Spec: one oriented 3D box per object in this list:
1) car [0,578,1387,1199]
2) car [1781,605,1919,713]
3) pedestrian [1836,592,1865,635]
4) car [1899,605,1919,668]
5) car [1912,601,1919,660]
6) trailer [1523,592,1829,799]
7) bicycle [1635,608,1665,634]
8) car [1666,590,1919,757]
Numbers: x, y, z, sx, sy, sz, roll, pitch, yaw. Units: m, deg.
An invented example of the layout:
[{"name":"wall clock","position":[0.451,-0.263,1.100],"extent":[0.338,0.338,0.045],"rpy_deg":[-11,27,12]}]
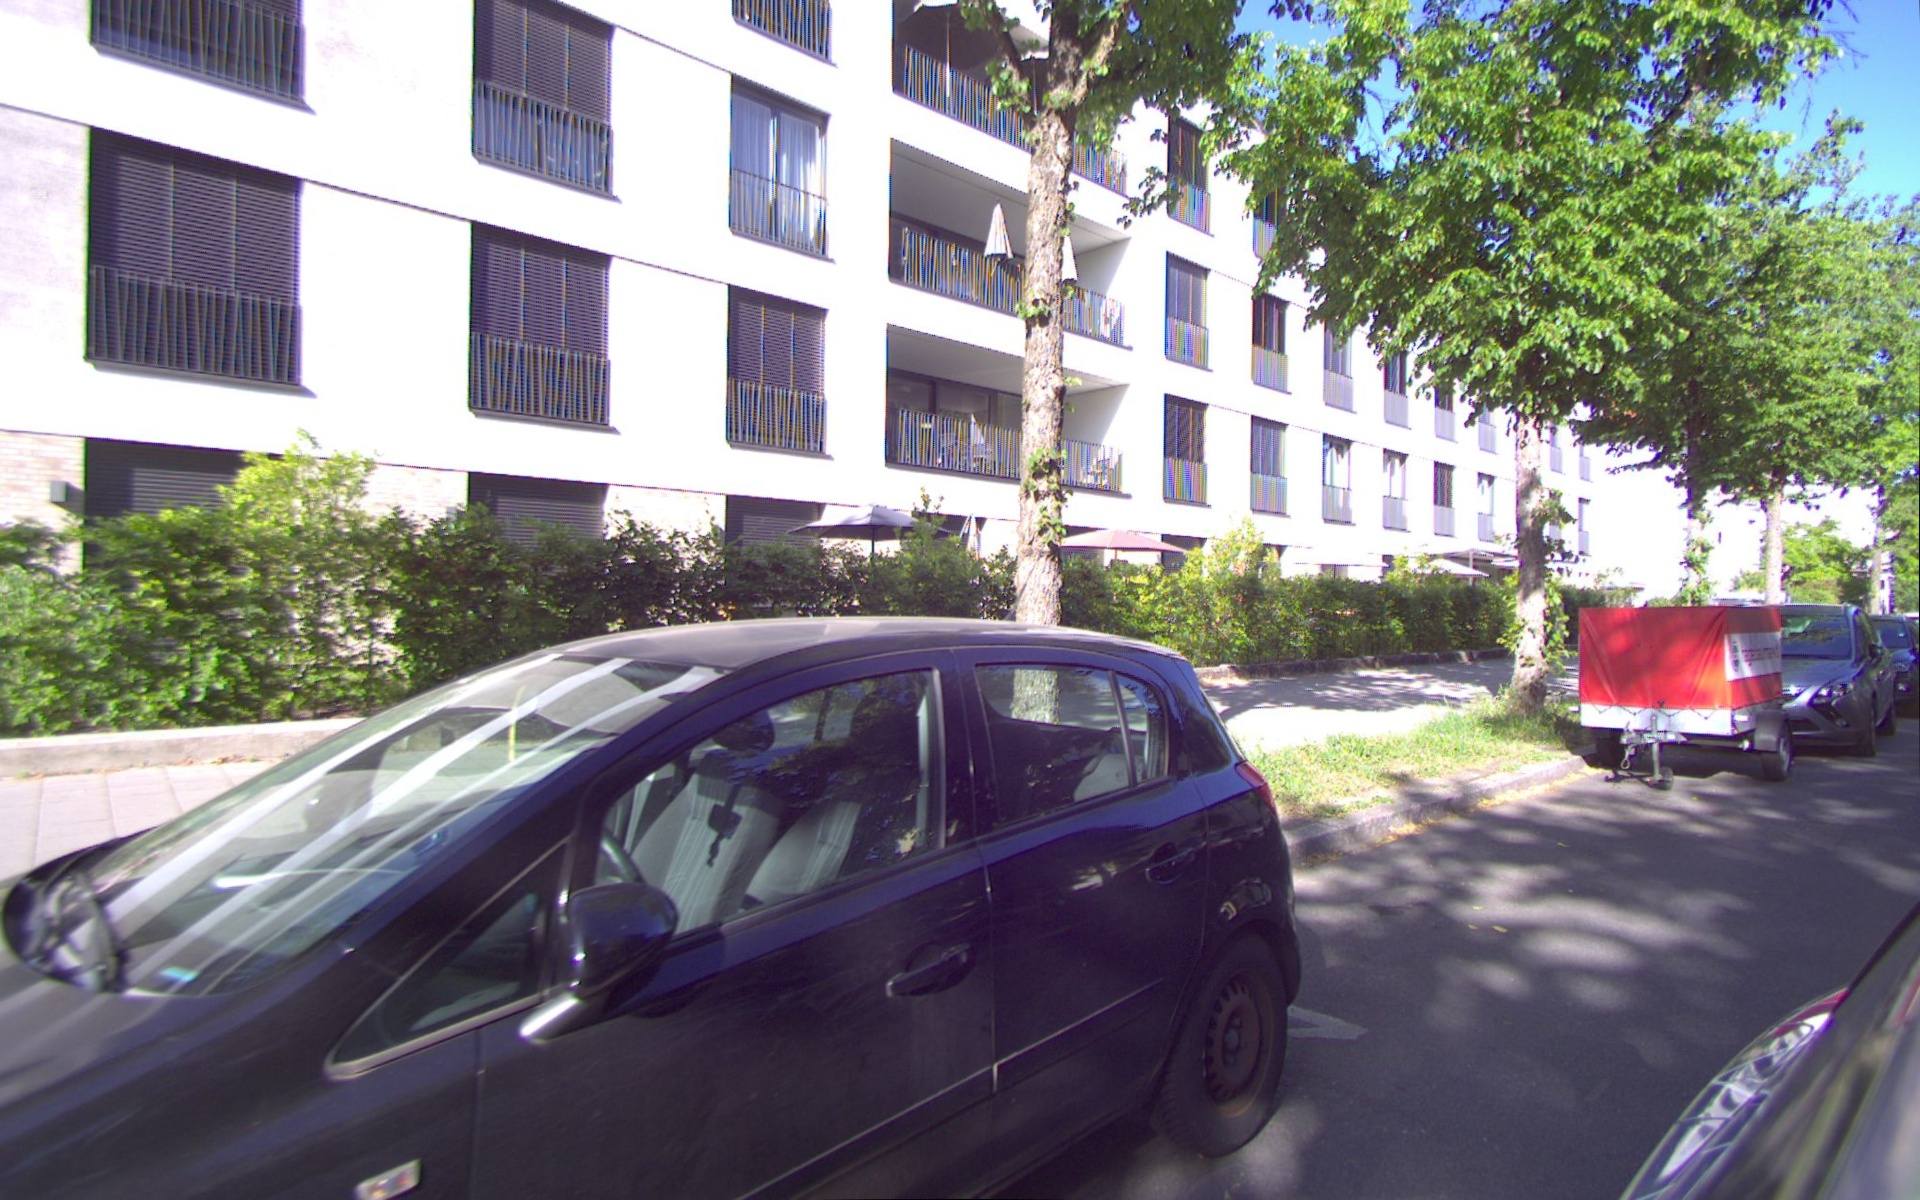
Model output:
[{"name":"car","position":[-0.697,0.739,2.432],"extent":[4.109,1.469,1.671],"rpy_deg":[1,-2,-44]},{"name":"car","position":[14.833,0.854,16.389],"extent":[4.269,1.536,1.720],"rpy_deg":[1,-1,-42]},{"name":"pedestrian","position":[43.436,0.646,49.344],"extent":[0.988,2.039,0.907],"rpy_deg":[1,0,-42]},{"name":"car","position":[25.275,0.909,25.890],"extent":[1.781,1.537,4.613],"rpy_deg":[0,-1,44]},{"name":"car","position":[29.549,0.889,29.658],"extent":[4.775,1.668,1.901],"rpy_deg":[1,-1,-40]},{"name":"trailer","position":[6.760,0.770,9.472],"extent":[3.135,1.599,1.577],"rpy_deg":[1,-2,-40]},{"name":"bicycle","position":[25.220,0.769,36.992],"extent":[1.581,0.906,0.564],"rpy_deg":[1,0,-42]},{"name":"car","position":[10.312,0.767,12.341],"extent":[4.737,1.664,1.794],"rpy_deg":[1,-2,-43]}]
